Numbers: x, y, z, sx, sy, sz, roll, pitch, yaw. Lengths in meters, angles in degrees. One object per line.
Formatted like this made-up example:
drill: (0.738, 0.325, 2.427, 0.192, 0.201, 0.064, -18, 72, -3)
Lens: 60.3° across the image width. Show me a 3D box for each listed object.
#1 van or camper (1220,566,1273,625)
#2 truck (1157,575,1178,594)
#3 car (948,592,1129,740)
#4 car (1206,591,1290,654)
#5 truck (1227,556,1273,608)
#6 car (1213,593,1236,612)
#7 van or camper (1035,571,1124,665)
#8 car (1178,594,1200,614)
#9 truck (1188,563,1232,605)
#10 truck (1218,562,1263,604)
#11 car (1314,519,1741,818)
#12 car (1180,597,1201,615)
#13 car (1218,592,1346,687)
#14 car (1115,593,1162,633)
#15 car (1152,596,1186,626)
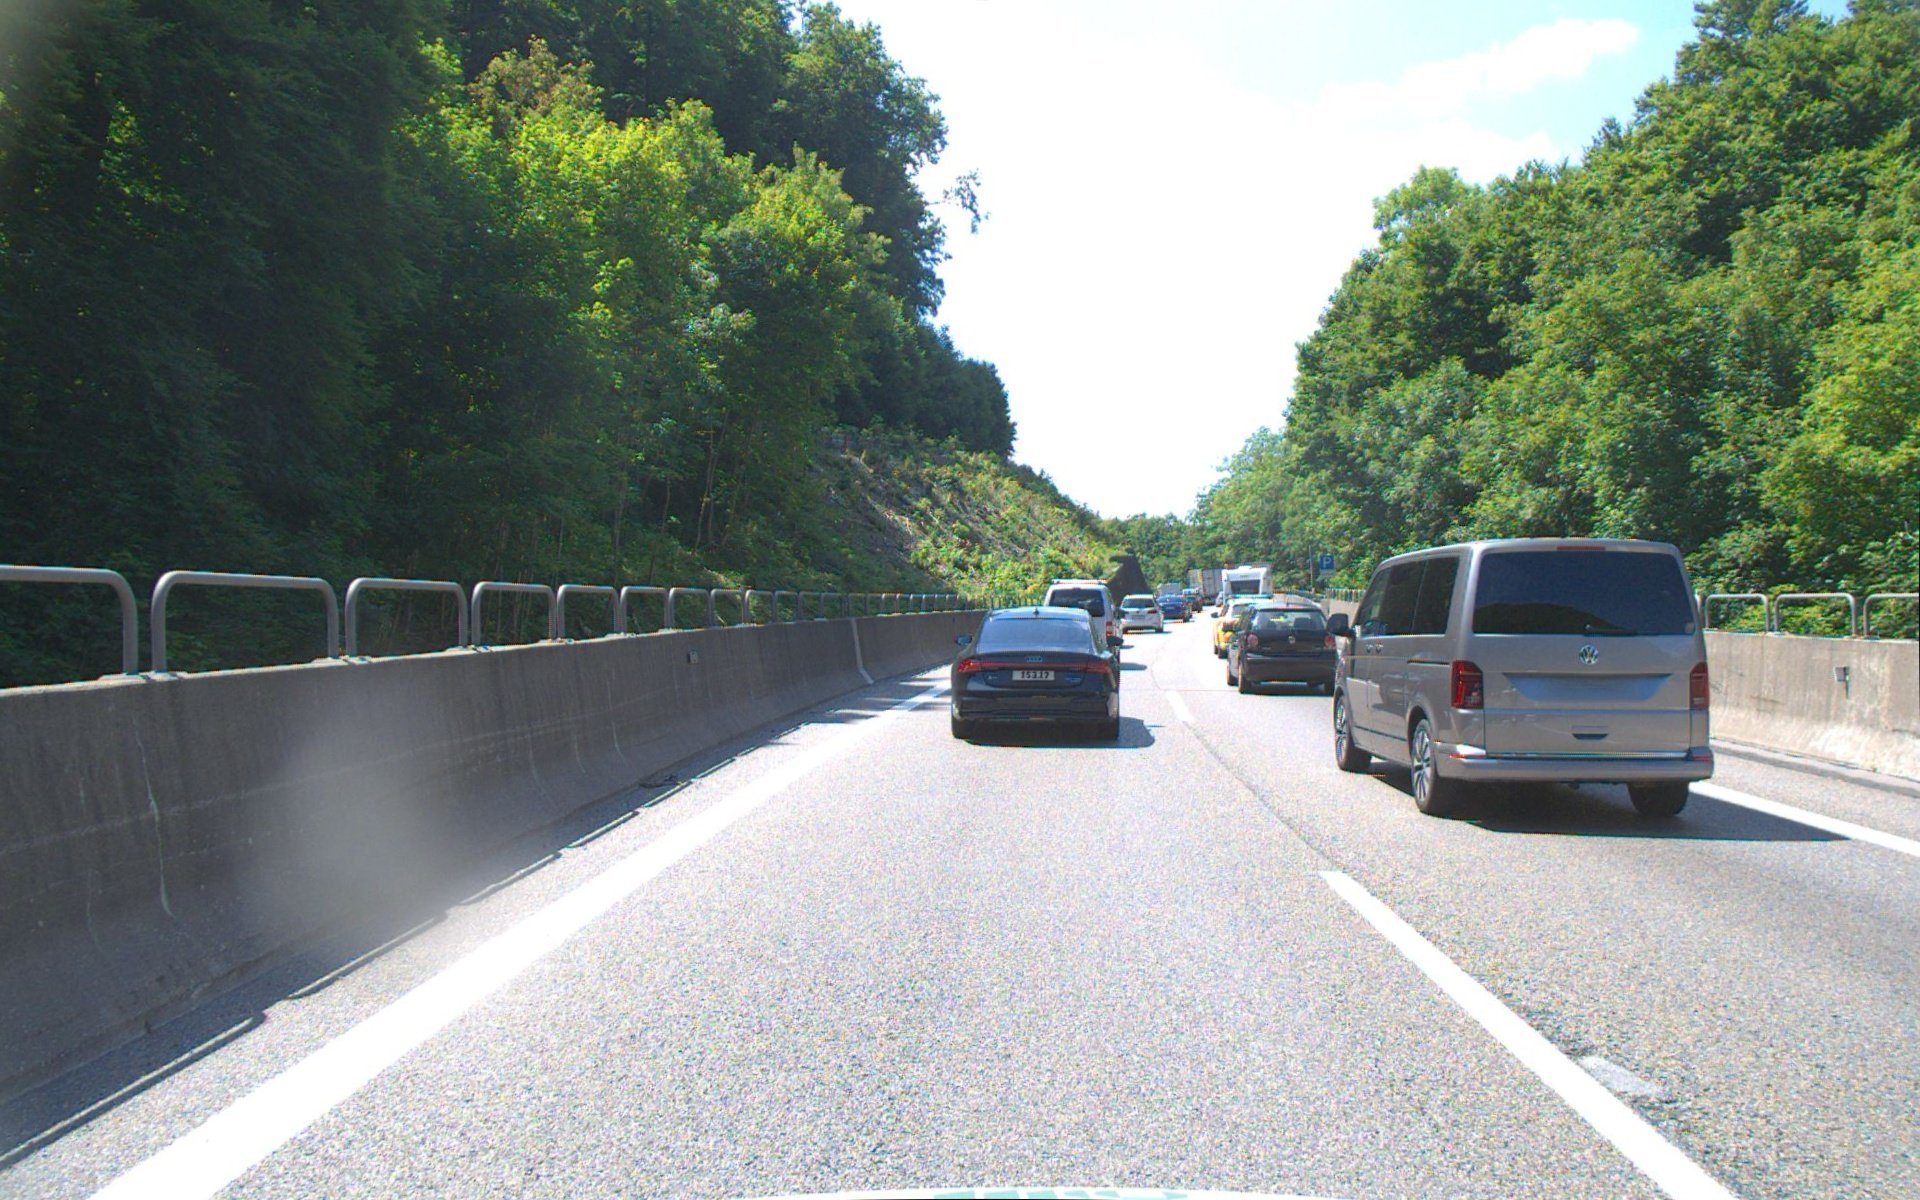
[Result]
van or camper: (14.748, -0.224, 84.936, 2.548, 2.905, 6.341, -1, 0, 10)
truck: (22.531, -1.634, 179.562, 1.952, 2.049, 4.001, 0, 0, 3)
car: (0.867, 0.687, 19.340, 1.865, 1.515, 4.380, 0, 0, 1)
car: (7.216, 0.551, 41.751, 1.770, 1.503, 4.084, 0, 0, 5)
truck: (21.328, -1.287, 121.926, 2.863, 3.752, 7.729, 0, 0, 6)
car: (26.254, 0.223, 164.291, 1.951, 1.892, 4.002, 0, 0, 4)
van or camper: (2.735, 0.379, 37.079, 1.814, 1.976, 4.168, 0, 0, 6)
car: (18.815, 0.339, 135.730, 1.713, 1.598, 3.774, -1, 0, 9)
truck: (27.533, -1.722, 182.689, 3.634, 4.583, 7.723, 0, 0, -1)
truck: (24.454, -1.444, 144.360, 3.097, 3.529, 8.226, 0, 0, 4)
car: (4.251, 0.457, 13.278, 1.900, 1.965, 4.695, 0, 0, 1)
car: (20.909, 0.511, 149.997, 1.714, 1.598, 3.773, 0, 0, 5)
car: (5.396, 0.631, 28.122, 1.649, 1.484, 4.002, 0, 0, 4)
car: (7.356, 0.514, 68.432, 1.855, 1.612, 3.773, 0, 0, 5)
car: (11.462, 0.577, 90.428, 1.713, 1.598, 3.774, -1, 0, 9)
